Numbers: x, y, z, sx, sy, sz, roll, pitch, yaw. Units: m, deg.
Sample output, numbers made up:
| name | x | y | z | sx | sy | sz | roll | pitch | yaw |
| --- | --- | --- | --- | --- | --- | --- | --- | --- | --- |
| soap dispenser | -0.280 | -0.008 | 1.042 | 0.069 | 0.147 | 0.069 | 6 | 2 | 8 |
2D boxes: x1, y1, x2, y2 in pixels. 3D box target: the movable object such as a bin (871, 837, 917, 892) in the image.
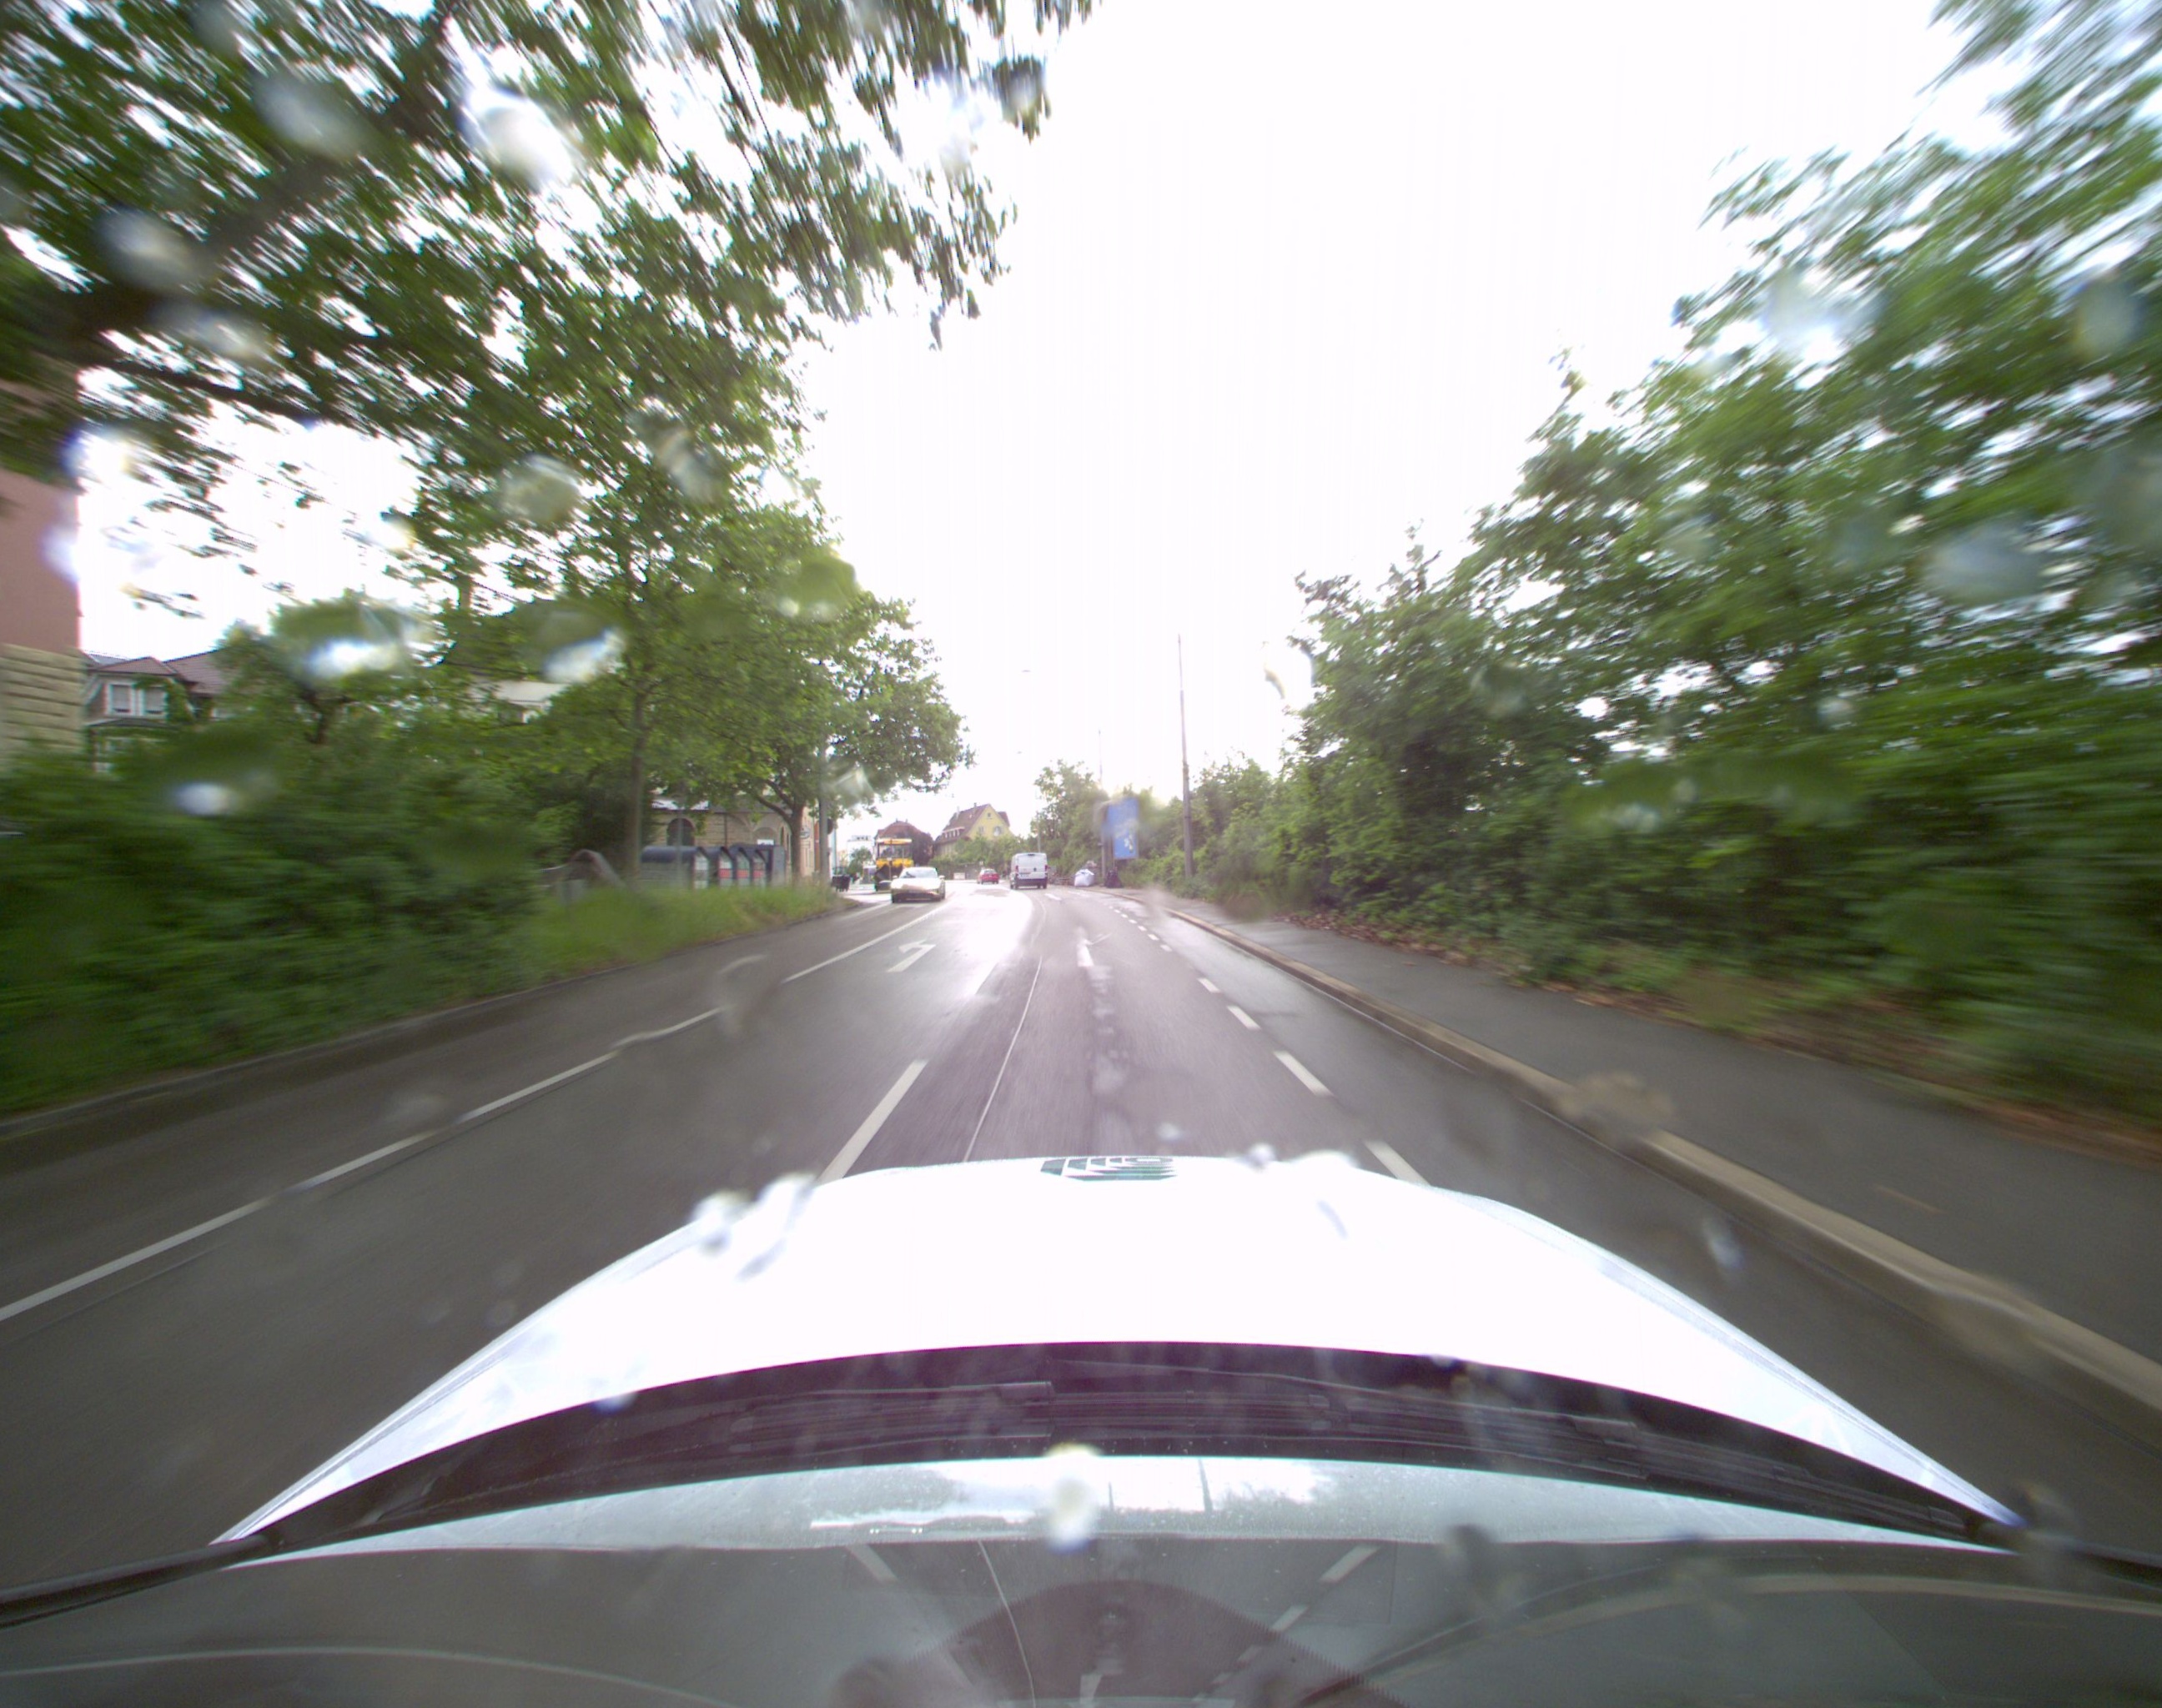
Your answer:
| name | x | y | z | sx | sy | sz | roll | pitch | yaw |
| --- | --- | --- | --- | --- | --- | --- | --- | --- | --- |
| movable object such as a bin | -13.722 | 0.734 | 60.156 | 2.773 | 3.855 | 5.970 | 0 | 0 | -9 |

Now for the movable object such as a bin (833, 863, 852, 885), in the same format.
| name | x | y | z | sx | sy | sz | roll | pitch | yaw |
| --- | --- | --- | --- | --- | --- | --- | --- | --- | --- |
| movable object such as a bin | -30.786 | 2.542 | 105.173 | 1.995 | 2.683 | 4.610 | 0 | 0 | -11 |

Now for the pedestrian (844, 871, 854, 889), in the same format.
| name | x | y | z | sx | sy | sz | roll | pitch | yaw |
| --- | --- | --- | --- | --- | --- | --- | --- | --- | --- |
| pedestrian | -20.726 | 2.333 | 72.840 | 0.764 | 1.588 | 1.088 | 0 | 0 | -10 |

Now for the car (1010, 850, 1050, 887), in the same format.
| name | x | y | z | sx | sy | sz | roll | pitch | yaw |
| --- | --- | --- | --- | --- | --- | --- | --- | --- | --- |
| car | -3.352 | 0.877 | 52.577 | 2.236 | 2.213 | 4.699 | 0 | 0 | -9 |

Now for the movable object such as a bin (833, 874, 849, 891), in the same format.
| name | x | y | z | sx | sy | sz | roll | pitch | yaw |
| --- | --- | --- | --- | --- | --- | --- | --- | --- | --- |
| movable object such as a bin | -17.938 | 2.150 | 60.952 | 0.896 | 1.222 | 1.192 | 0 | 0 | -30 |

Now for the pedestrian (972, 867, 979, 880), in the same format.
| name | x | y | z | sx | sy | sz | roll | pitch | yaw |
| --- | --- | --- | --- | --- | --- | --- | --- | --- | --- |
| pedestrian | -15.096 | 2.786 | 116.698 | 0.906 | 1.731 | 0.651 | 0 | 0 | -11 |

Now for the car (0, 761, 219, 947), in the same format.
| name | x | y | z | sx | sy | sz | roll | pitch | yaw |
| --- | --- | --- | --- | --- | --- | --- | --- | --- | --- |
| car | -11.617 | 0.007 | 7.708 | 1.822 | 1.843 | 4.631 | 0 | 0 | 3 |

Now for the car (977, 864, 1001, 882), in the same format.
| name | x | y | z | sx | sy | sz | roll | pitch | yaw |
| --- | --- | --- | --- | --- | --- | --- | --- | --- | --- |
| car | -9.210 | 1.906 | 81.373 | 2.236 | 1.656 | 4.701 | 0 | 0 | -8 |

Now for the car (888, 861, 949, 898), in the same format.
| name | x | y | z | sx | sy | sz | roll | pitch | yaw |
| --- | --- | --- | --- | --- | --- | --- | --- | --- | --- |
| car | -6.750 | 1.023 | 34.267 | 2.068 | 1.353 | 4.703 | 0 | 0 | -6 |

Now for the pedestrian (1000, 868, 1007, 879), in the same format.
| name | x | y | z | sx | sy | sz | roll | pitch | yaw |
| --- | --- | --- | --- | --- | --- | --- | --- | --- | --- |
| pedestrian | -10.315 | 2.617 | 108.827 | 0.879 | 1.367 | 1.061 | 0 | 0 | -11 |
